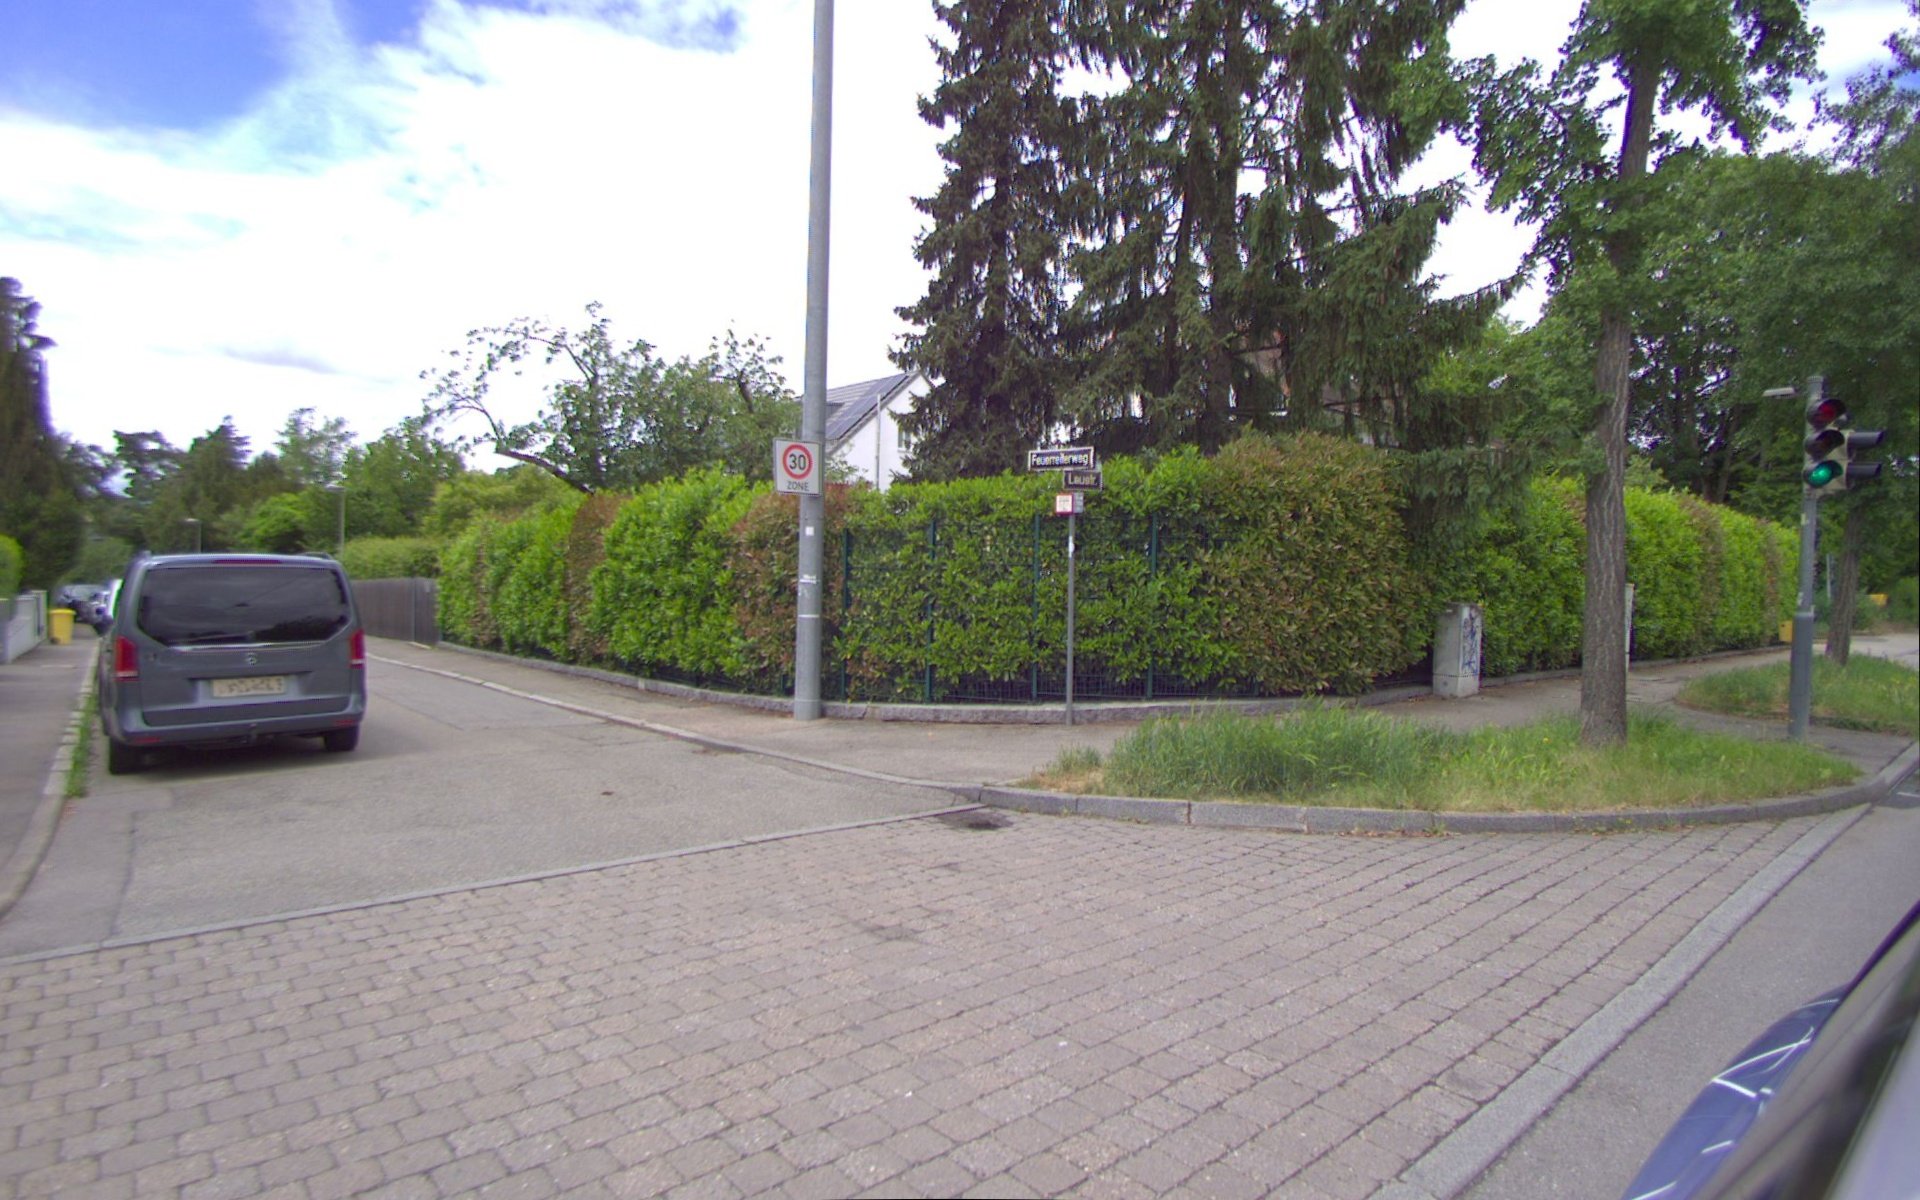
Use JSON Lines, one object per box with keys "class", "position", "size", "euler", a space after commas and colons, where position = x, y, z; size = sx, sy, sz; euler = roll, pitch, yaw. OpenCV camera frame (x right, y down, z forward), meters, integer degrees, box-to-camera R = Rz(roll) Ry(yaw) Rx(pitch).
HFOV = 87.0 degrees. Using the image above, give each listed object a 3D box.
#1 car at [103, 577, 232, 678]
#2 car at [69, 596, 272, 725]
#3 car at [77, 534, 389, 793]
{"class": "car", "position": [-15.279, 0.450, 19.445], "size": [1.798, 1.725, 4.120], "euler": [0, 1, -40]}
{"class": "car", "position": [-10.958, 0.701, 14.008], "size": [1.965, 1.476, 3.994], "euler": [0, 1, -40]}
{"class": "car", "position": [-7.513, 0.459, 10.293], "size": [2.121, 1.991, 4.768], "euler": [0, 1, -40]}
